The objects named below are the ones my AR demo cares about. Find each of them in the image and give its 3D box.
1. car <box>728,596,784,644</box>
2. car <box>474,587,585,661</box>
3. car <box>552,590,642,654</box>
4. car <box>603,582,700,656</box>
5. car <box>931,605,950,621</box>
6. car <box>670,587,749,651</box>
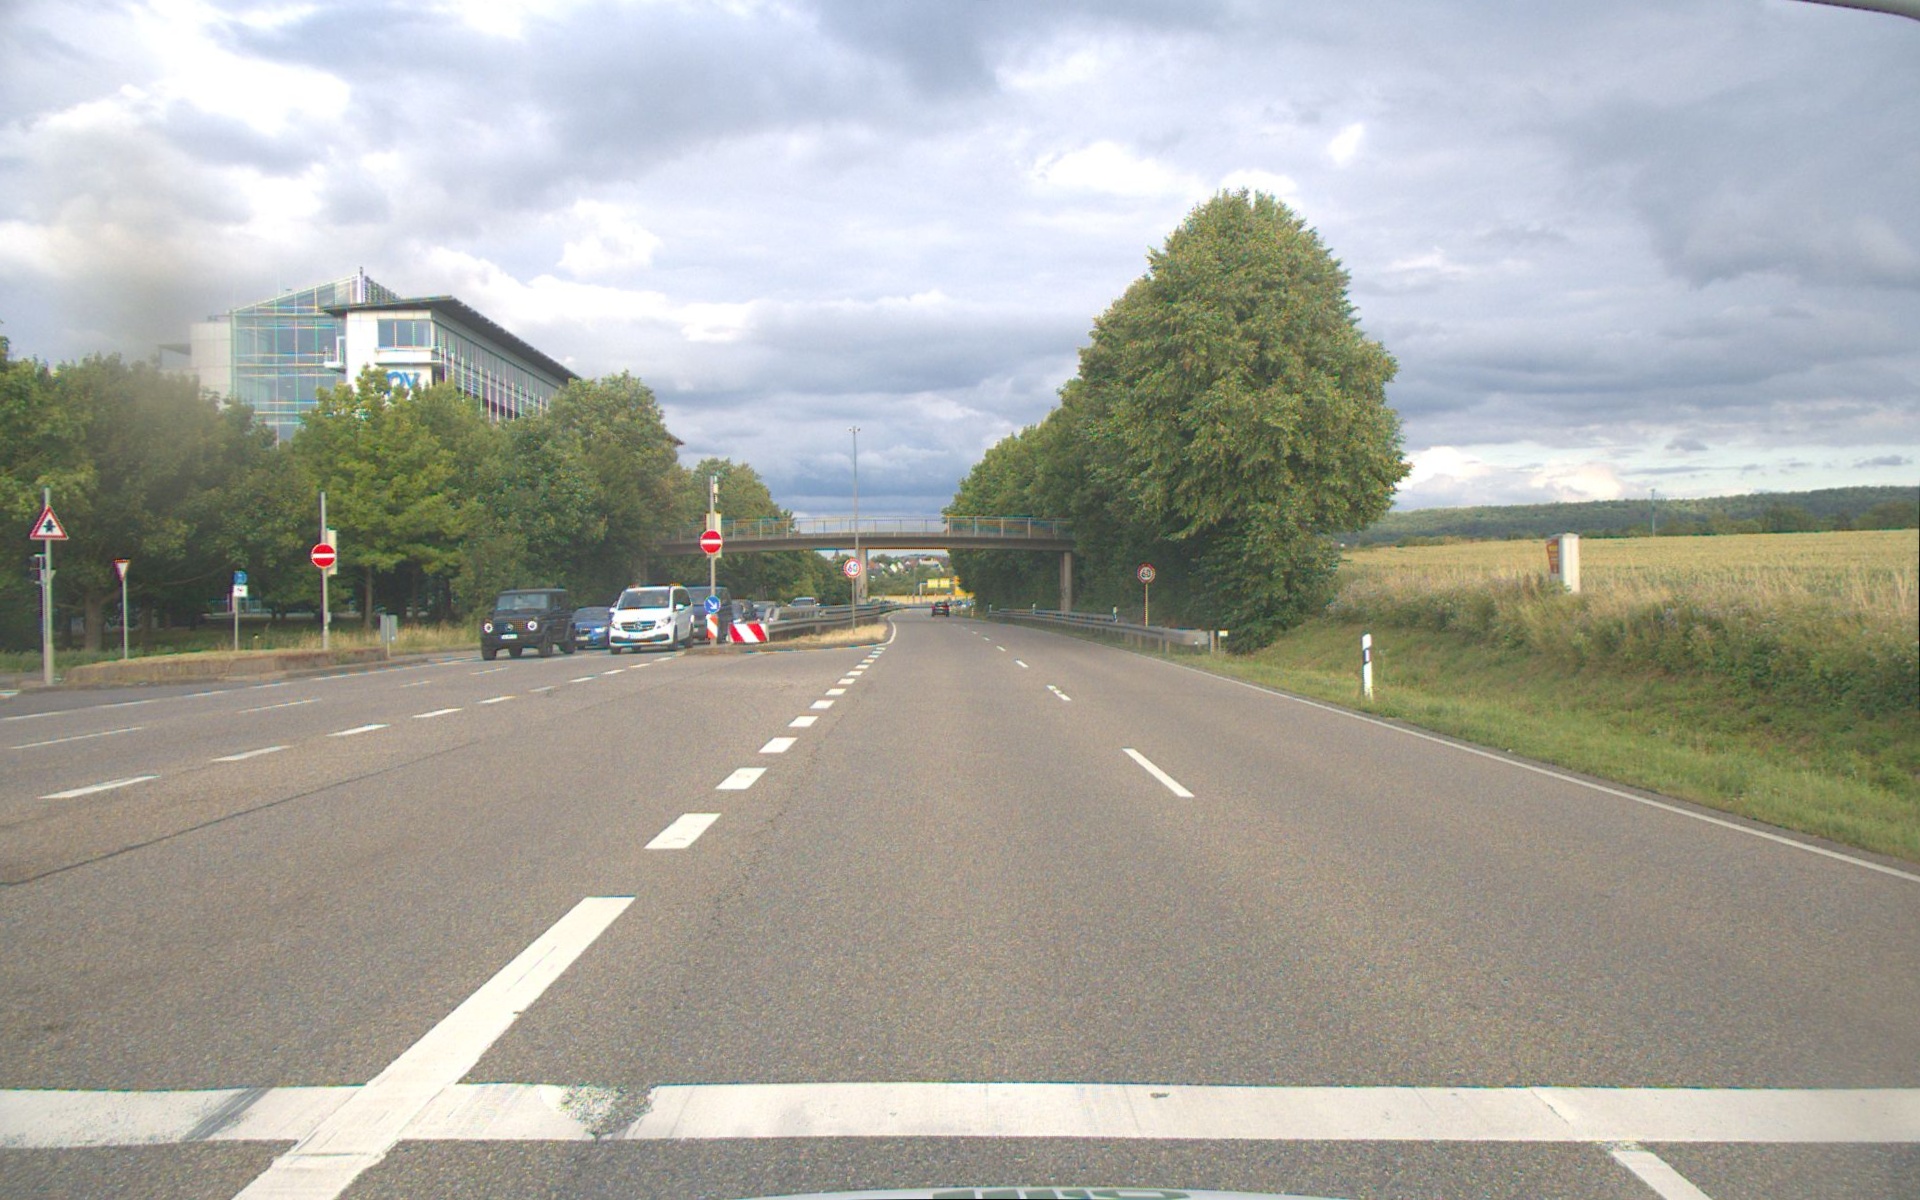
[{"bbox_3d":[-9.253,0.887,75.486,2.041,2.049,5.214,1,0,-2],"label":"car"},{"bbox_3d":[-12.668,0.680,49.044,2.041,2.049,5.214,1,0,-2],"label":"car"},{"bbox_3d":[-12.332,0.726,56.549,2.041,2.049,5.214,1,0,-2],"label":"car"},{"bbox_3d":[-9.109,0.542,49.210,2.041,2.049,5.214,1,0,-2],"label":"car"},{"bbox_3d":[-2.062,1.366,174.106,1.842,1.579,3.998,1,0,-3],"label":"car"},{"bbox_3d":[-8.568,0.636,56.953,2.041,2.049,5.214,1,0,-2],"label":"car"}]
